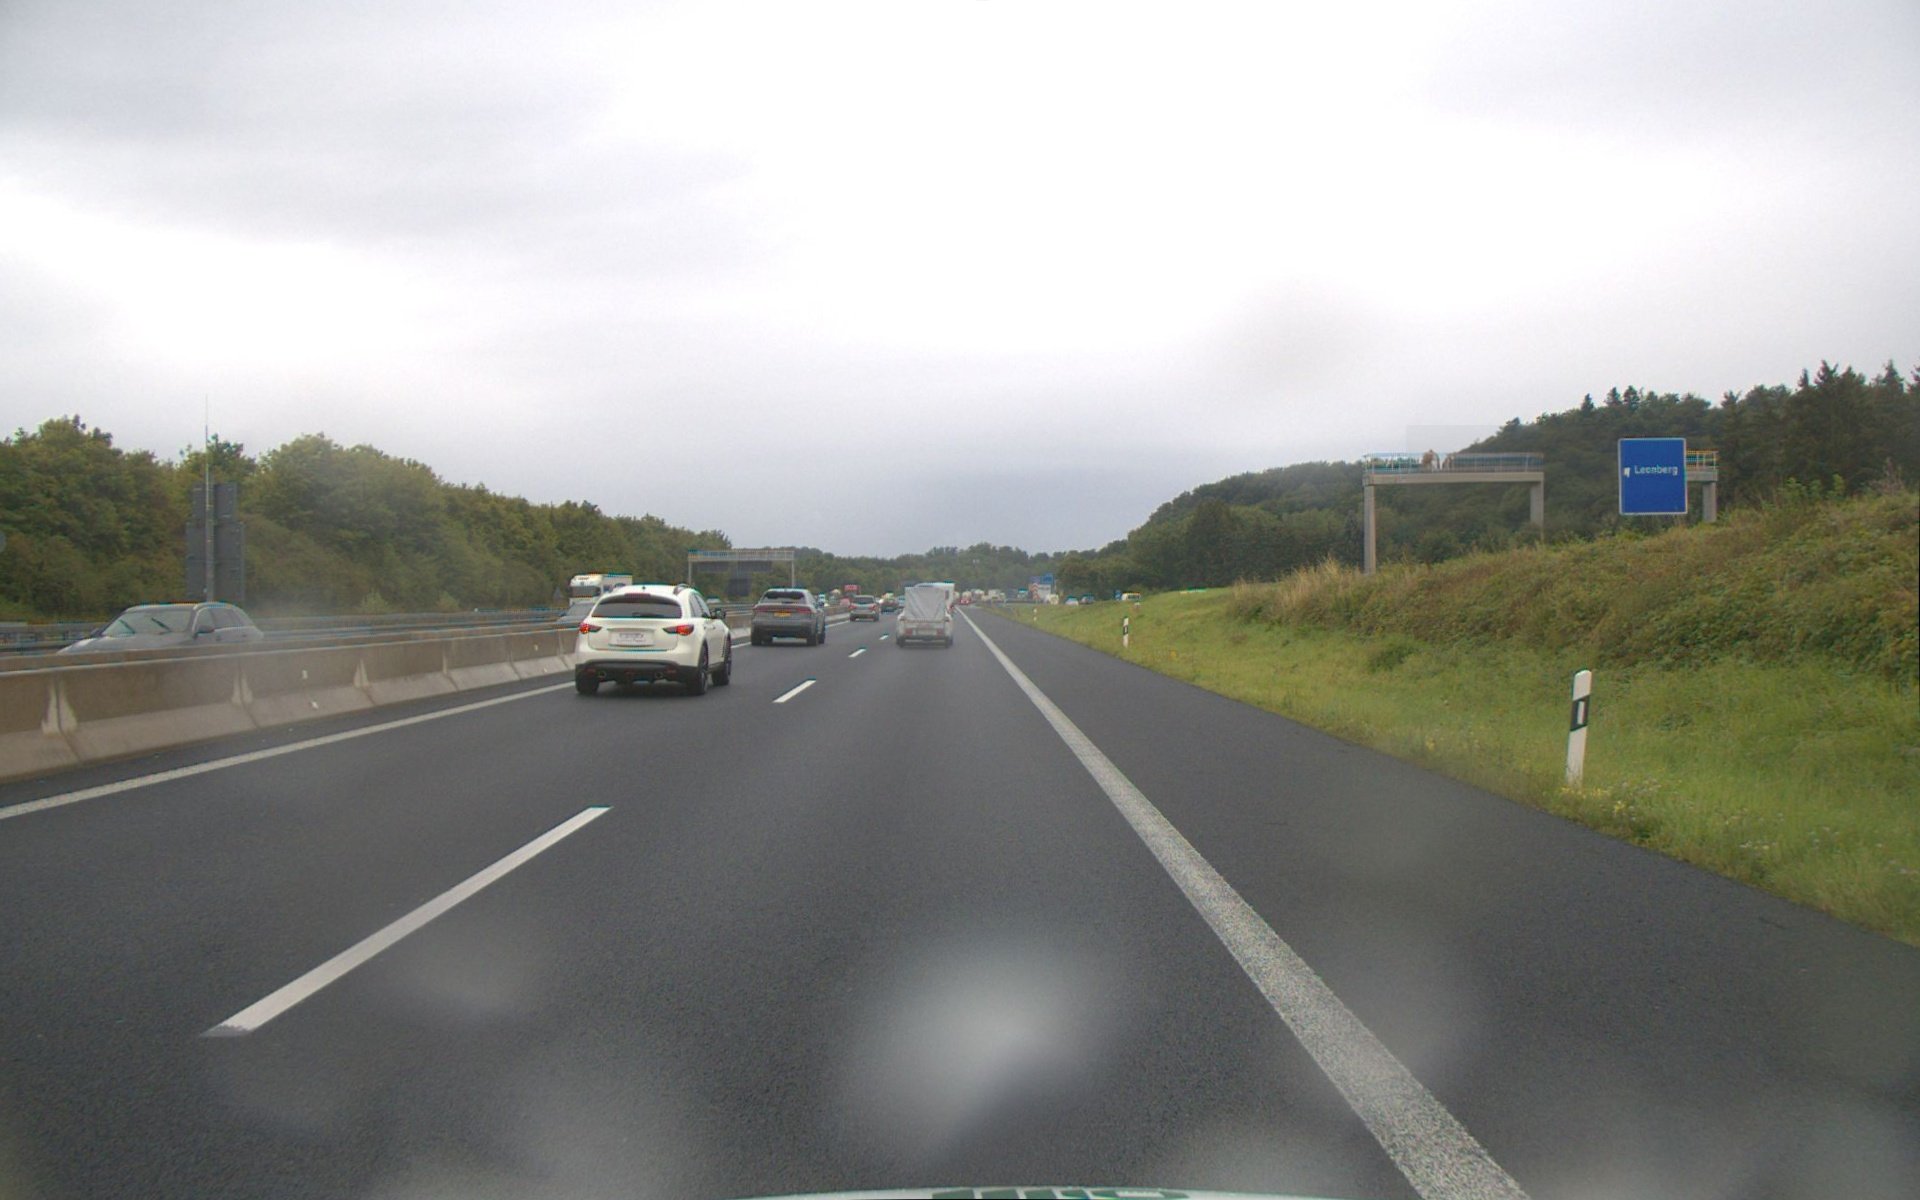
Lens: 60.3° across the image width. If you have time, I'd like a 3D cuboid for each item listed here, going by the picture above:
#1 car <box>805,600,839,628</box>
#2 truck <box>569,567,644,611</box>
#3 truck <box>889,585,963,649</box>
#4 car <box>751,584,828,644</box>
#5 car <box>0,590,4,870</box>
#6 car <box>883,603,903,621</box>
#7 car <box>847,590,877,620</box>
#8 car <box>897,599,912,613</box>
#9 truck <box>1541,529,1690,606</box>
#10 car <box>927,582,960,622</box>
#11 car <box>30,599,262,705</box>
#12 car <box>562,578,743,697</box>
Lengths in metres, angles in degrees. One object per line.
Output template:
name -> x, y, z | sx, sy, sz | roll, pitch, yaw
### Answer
car -> -8.571, 0.830, 102.655 | 1.782, 1.691, 4.017 | 0, 0, 0
truck -> -32.465, -0.973, 152.682 | 3.112, 3.875, 17.134 | 0, 0, 0
truck -> -1.084, 0.489, 52.302 | 2.197, 1.871, 6.583 | 1, 0, -1
car -> -5.245, 0.413, 51.504 | 1.935, 1.733, 4.801 | 1, 0, -1
car -> -4.968, 0.690, 4.664 | 1.751, 1.484, 4.802 | 1, 0, 0
car -> -6.223, 1.111, 153.826 | 1.612, 1.601, 4.000 | 1, 0, 0
car -> -6.253, 0.309, 105.383 | 1.703, 1.825, 3.999 | 1, 0, -1
car -> -6.496, 0.733, 194.573 | 1.612, 1.601, 4.000 | 1, 0, 0
truck -> 33.868, -1.592, 85.895 | 3.752, 3.723, 8.259 | 1, 0, -7
car -> -1.225, 0.139, 120.983 | 2.284, 2.773, 6.538 | 1, 0, -1
car -> -12.908, 0.773, 26.522 | 1.761, 1.534, 3.999 | -1, 0, -1
car -> -4.756, 0.536, 26.252 | 2.006, 1.700, 4.540 | 1, 0, 0
